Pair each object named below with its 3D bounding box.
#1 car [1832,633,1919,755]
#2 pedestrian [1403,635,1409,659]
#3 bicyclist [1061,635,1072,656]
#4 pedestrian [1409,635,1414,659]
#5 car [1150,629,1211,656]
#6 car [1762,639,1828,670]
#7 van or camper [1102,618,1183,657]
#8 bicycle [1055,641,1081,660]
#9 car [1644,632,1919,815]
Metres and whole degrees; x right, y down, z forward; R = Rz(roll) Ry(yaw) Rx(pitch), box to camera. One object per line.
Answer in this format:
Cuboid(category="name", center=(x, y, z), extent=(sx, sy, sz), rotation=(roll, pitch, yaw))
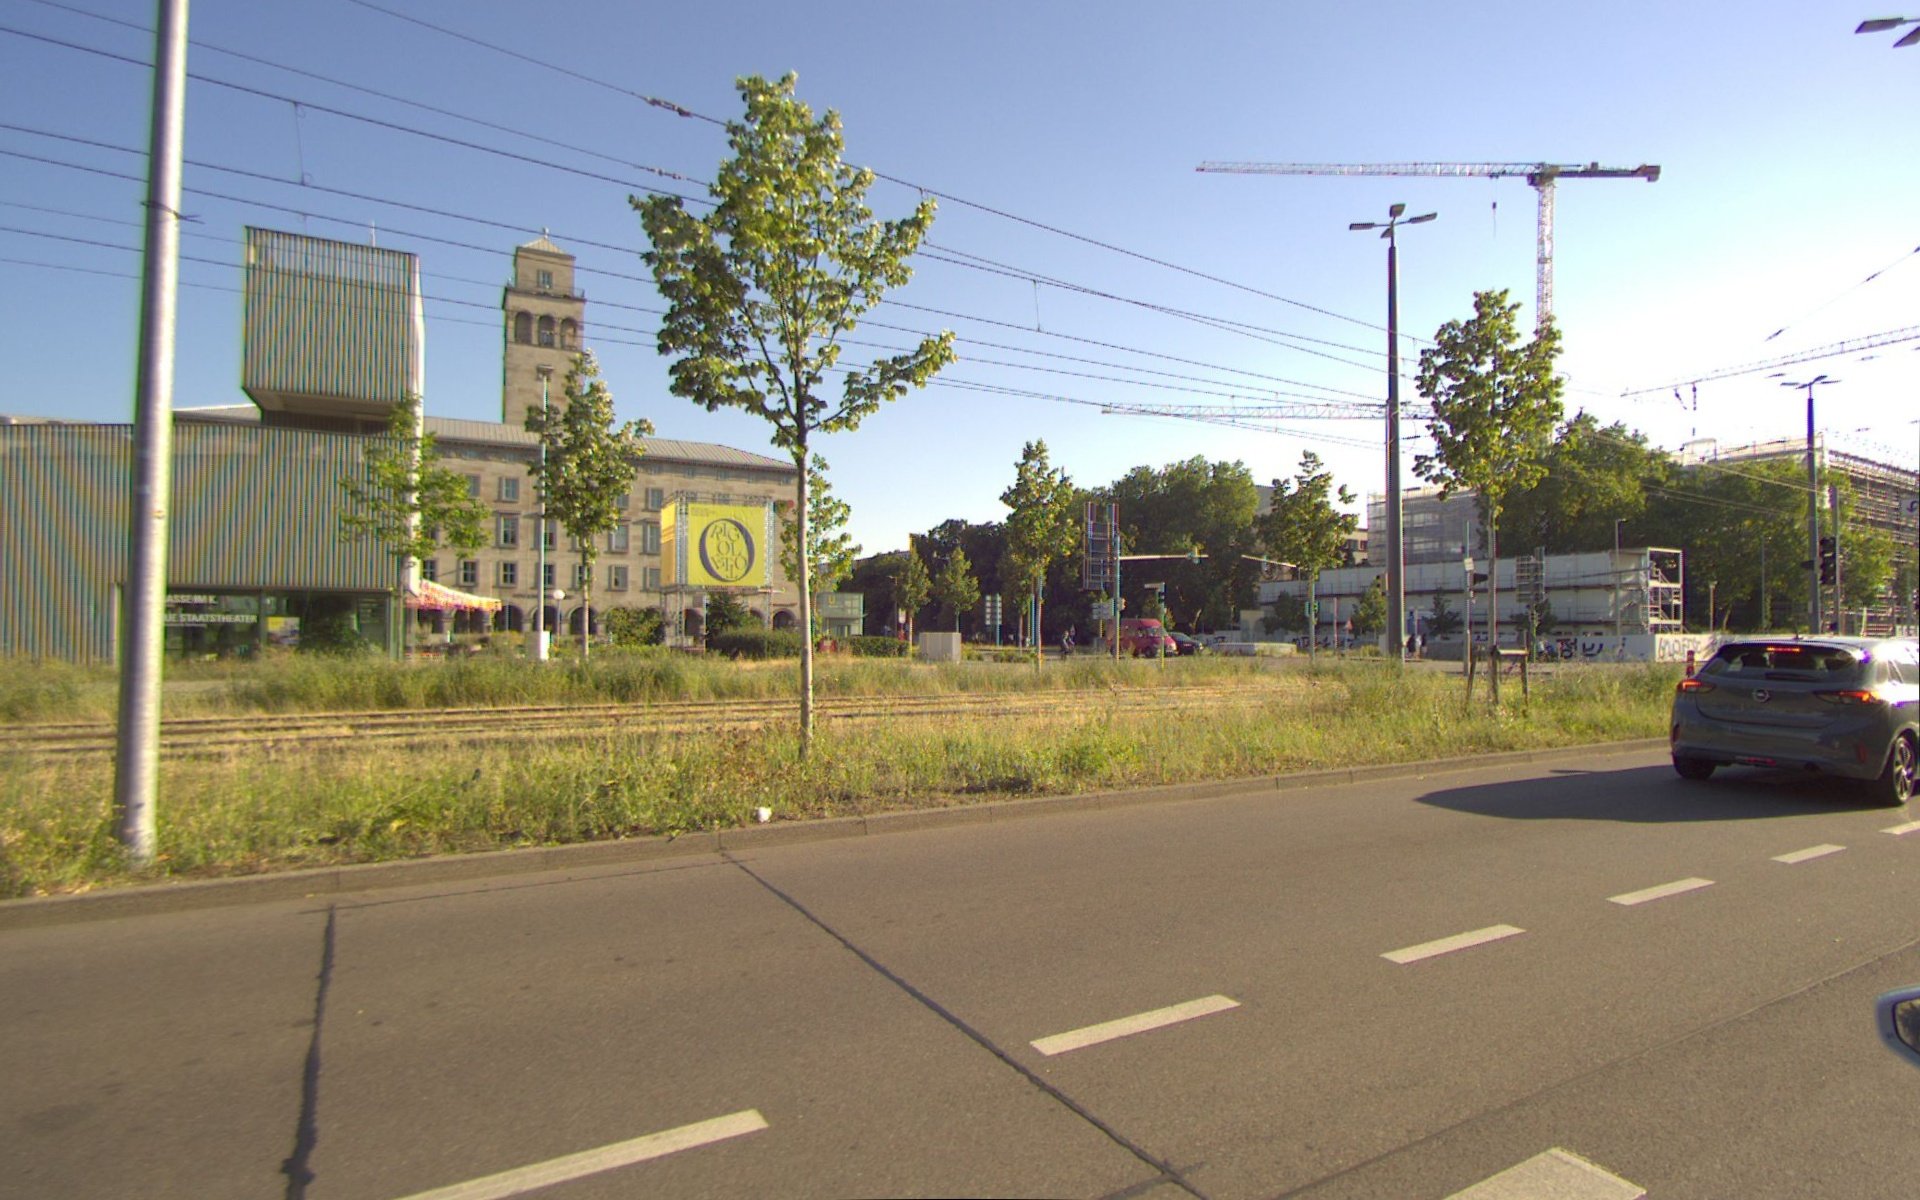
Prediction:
Cuboid(category="car", center=(13.241, 1.189, 13.171), extent=(3.882, 1.447, 1.694), rotation=(1, -1, -32))
Cuboid(category="pedestrian", center=(28.423, 2.984, 64.018), extent=(0.276, 1.484, 0.272), rotation=(1, -1, -31))
Cuboid(category="bicyclist", center=(6.006, 2.559, 56.660), extent=(0.500, 1.157, 0.408), rotation=(1, -2, -37))
Cuboid(category="pedestrian", center=(28.841, 3.003, 64.209), extent=(0.269, 1.484, 0.316), rotation=(0, -1, 23))
Cuboid(category="car", center=(14.730, 2.821, 67.249), extent=(1.779, 1.781, 4.000), rotation=(1, -2, -29))
Cuboid(category="car", center=(51.219, 3.307, 61.620), extent=(3.955, 1.800, 1.983), rotation=(1, -2, -32))
Cuboid(category="van or camper", center=(11.863, 2.411, 65.758), extent=(2.129, 2.446, 5.636), rotation=(1, -2, -29))
Cuboid(category="bicycle", center=(6.061, 2.836, 56.573), extent=(0.502, 0.984, 1.642), rotation=(1, -2, -36))
Cuboid(category="car", center=(8.686, 1.065, 9.972), extent=(3.957, 1.447, 1.766), rotation=(1, -1, -33))
